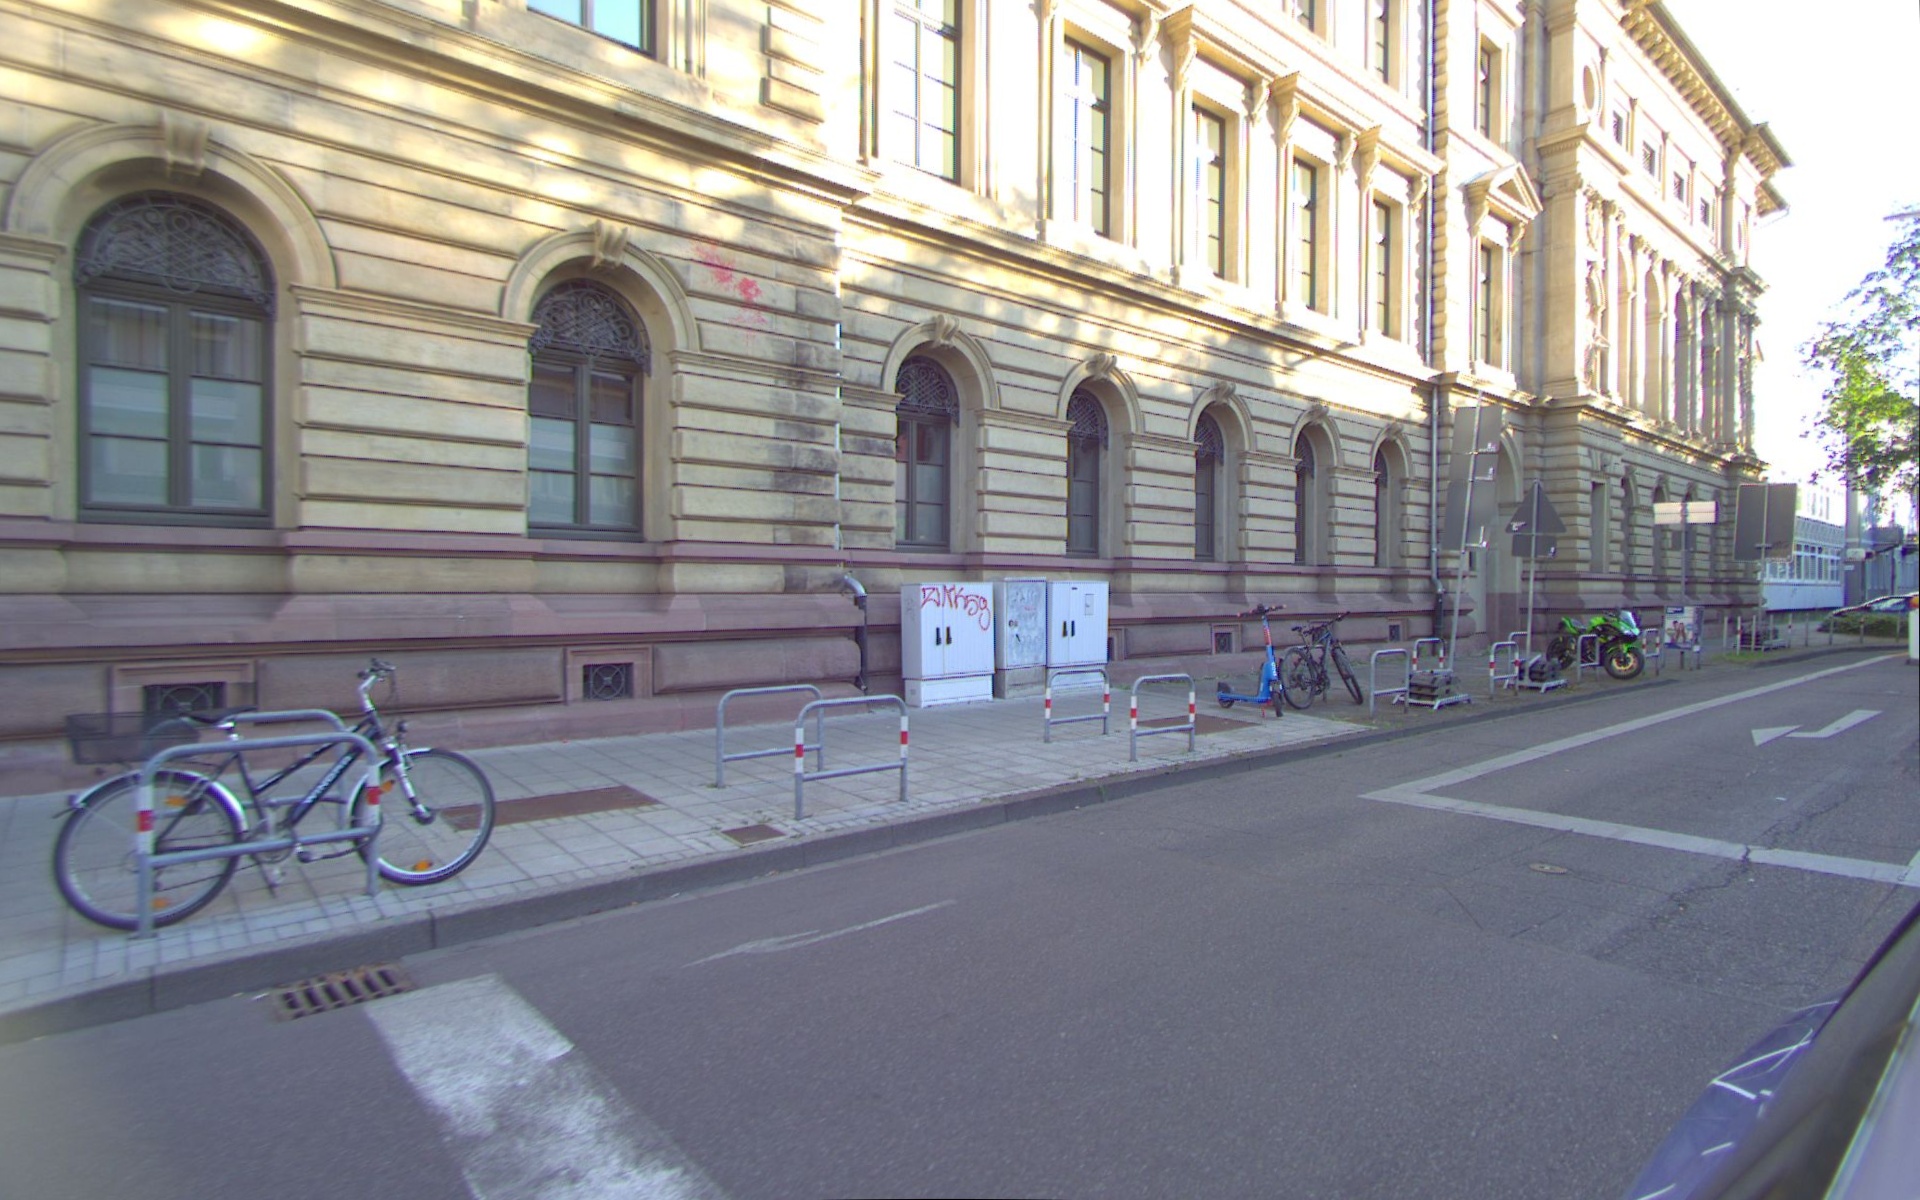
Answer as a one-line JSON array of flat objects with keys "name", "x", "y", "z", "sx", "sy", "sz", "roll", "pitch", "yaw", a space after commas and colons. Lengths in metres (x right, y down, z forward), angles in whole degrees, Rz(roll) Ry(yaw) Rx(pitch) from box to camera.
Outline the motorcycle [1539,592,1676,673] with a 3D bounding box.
[{"name": "motorcycle", "x": 11.198, "y": 0.532, "z": 17.599, "sx": 0.695, "sy": 1.230, "sz": 2.109, "roll": 1, "pitch": 3, "yaw": -11}]

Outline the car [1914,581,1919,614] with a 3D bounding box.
[{"name": "car", "x": 49.354, "y": -0.025, "z": 49.068, "sx": 1.704, "sy": 1.644, "sz": 4.364, "roll": 0, "pitch": 3, "yaw": -43}]

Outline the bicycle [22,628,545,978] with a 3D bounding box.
[{"name": "bicycle", "x": -2.989, "y": 0.790, "z": 4.657, "sx": 1.887, "sy": 1.203, "sz": 0.583, "roll": -3, "pitch": 2, "yaw": -41}]

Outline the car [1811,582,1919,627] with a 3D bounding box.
[{"name": "car", "x": 33.937, "y": 0.168, "z": 36.842, "sx": 1.804, "sy": 1.482, "sz": 4.362, "roll": -1, "pitch": 4, "yaw": -44}]

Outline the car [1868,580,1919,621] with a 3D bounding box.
[{"name": "car", "x": 41.024, "y": 0.071, "z": 42.297, "sx": 2.020, "sy": 1.662, "sz": 4.364, "roll": -1, "pitch": 3, "yaw": -43}]

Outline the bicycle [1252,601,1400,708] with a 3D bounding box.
[{"name": "bicycle", "x": 4.497, "y": 0.616, "z": 12.371, "sx": 1.910, "sy": 1.148, "sz": 0.829, "roll": 0, "pitch": 3, "yaw": -41}]

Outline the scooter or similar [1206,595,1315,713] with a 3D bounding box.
[{"name": "scooter or similar", "x": 3.388, "y": 0.579, "z": 11.504, "sx": 0.572, "sy": 1.210, "sz": 1.136, "roll": 0, "pitch": 3, "yaw": -22}]

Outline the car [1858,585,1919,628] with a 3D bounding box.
[{"name": "car", "x": 36.560, "y": 0.296, "z": 37.736, "sx": 1.643, "sy": 1.513, "sz": 4.367, "roll": -1, "pitch": 4, "yaw": -40}]
